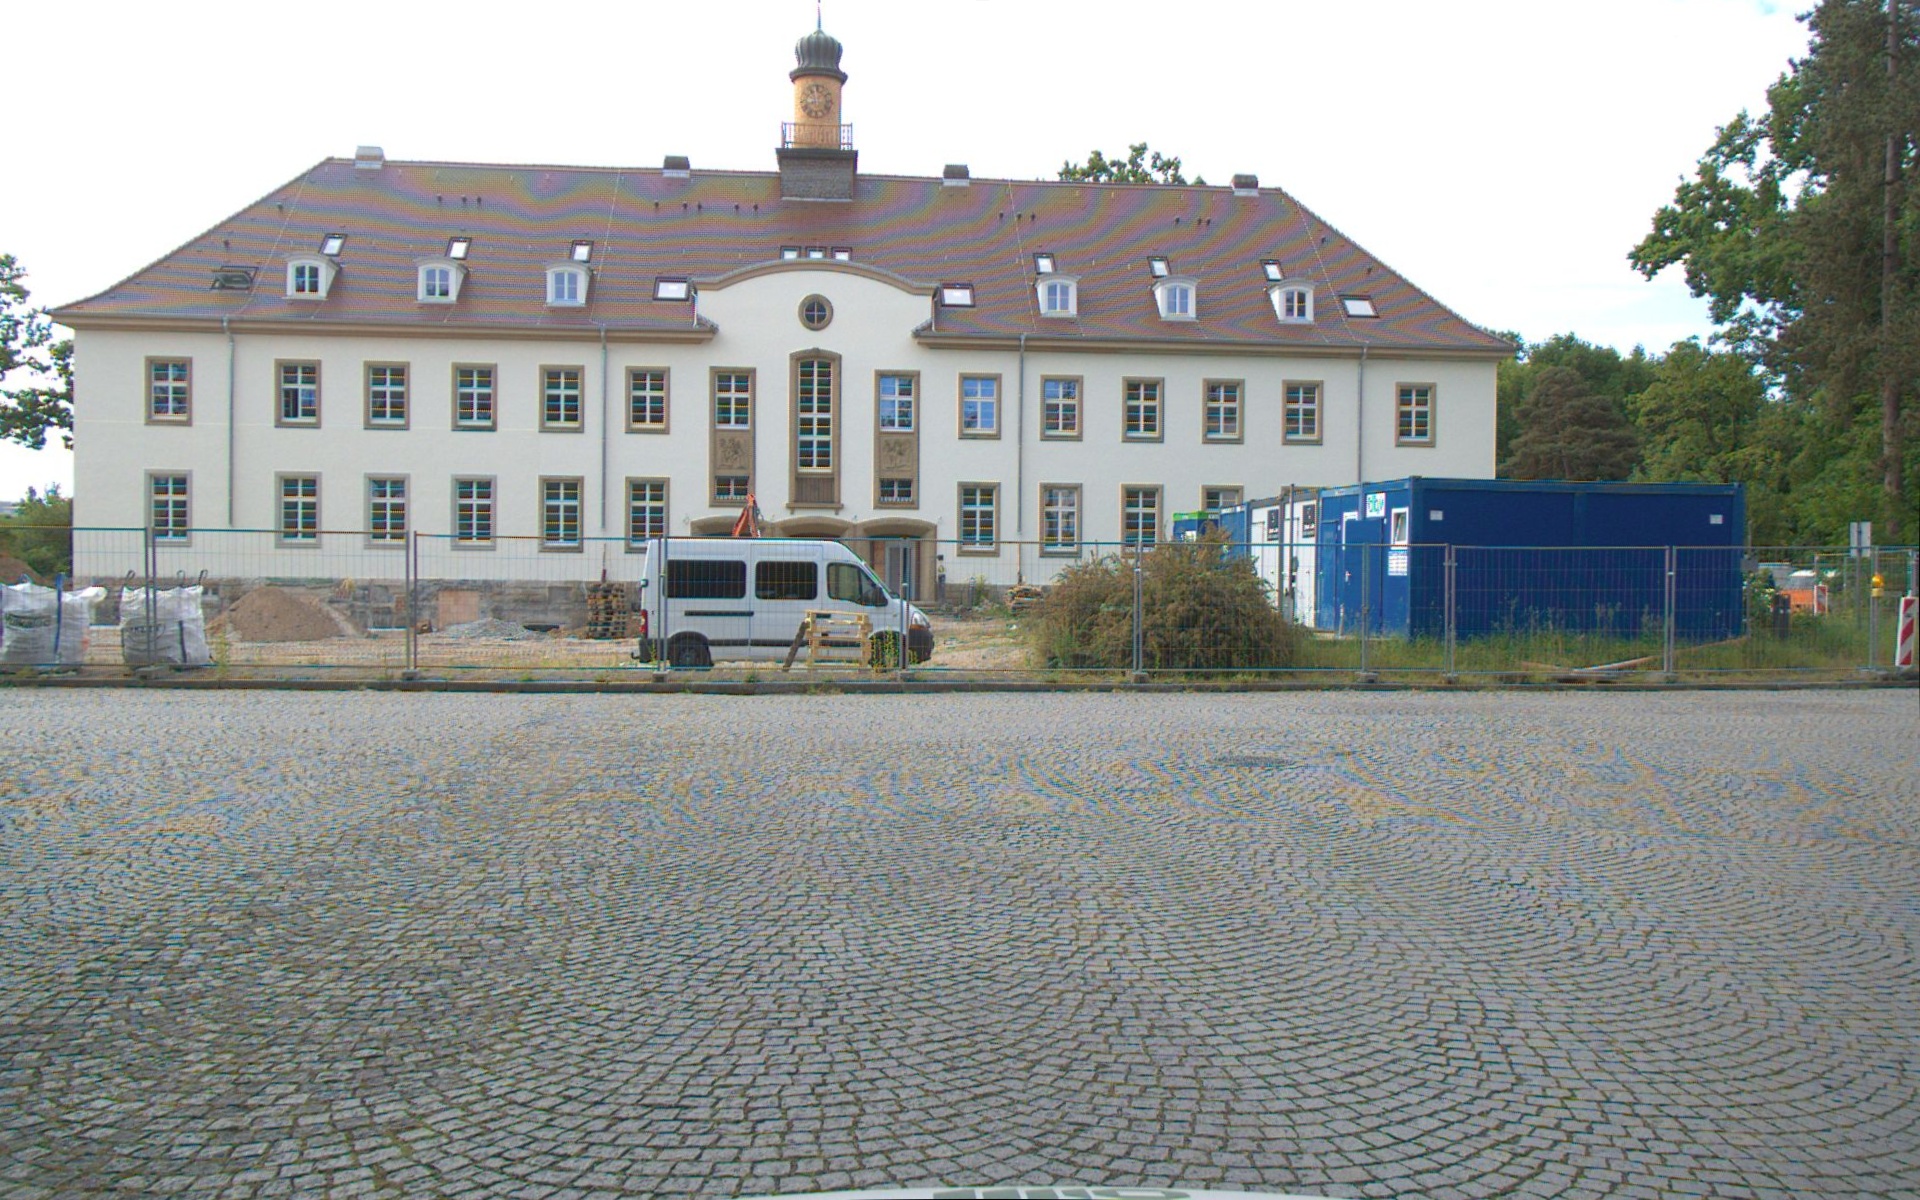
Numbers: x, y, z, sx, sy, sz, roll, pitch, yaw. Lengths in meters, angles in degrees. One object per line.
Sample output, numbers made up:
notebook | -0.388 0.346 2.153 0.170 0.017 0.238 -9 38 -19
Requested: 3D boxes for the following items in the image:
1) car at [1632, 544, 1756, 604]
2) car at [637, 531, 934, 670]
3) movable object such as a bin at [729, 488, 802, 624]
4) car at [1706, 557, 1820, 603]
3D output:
car | 26.567 -0.923 59.754 5.363 2.078 1.741 0 1 -37
car | -3.098 0.004 29.921 5.159 2.385 1.908 1 0 -4
movable object such as a bin | -5.886 -1.281 49.703 1.956 3.837 5.307 1 0 -9
car | 27.707 -0.700 57.012 4.398 1.528 1.741 0 1 -37
